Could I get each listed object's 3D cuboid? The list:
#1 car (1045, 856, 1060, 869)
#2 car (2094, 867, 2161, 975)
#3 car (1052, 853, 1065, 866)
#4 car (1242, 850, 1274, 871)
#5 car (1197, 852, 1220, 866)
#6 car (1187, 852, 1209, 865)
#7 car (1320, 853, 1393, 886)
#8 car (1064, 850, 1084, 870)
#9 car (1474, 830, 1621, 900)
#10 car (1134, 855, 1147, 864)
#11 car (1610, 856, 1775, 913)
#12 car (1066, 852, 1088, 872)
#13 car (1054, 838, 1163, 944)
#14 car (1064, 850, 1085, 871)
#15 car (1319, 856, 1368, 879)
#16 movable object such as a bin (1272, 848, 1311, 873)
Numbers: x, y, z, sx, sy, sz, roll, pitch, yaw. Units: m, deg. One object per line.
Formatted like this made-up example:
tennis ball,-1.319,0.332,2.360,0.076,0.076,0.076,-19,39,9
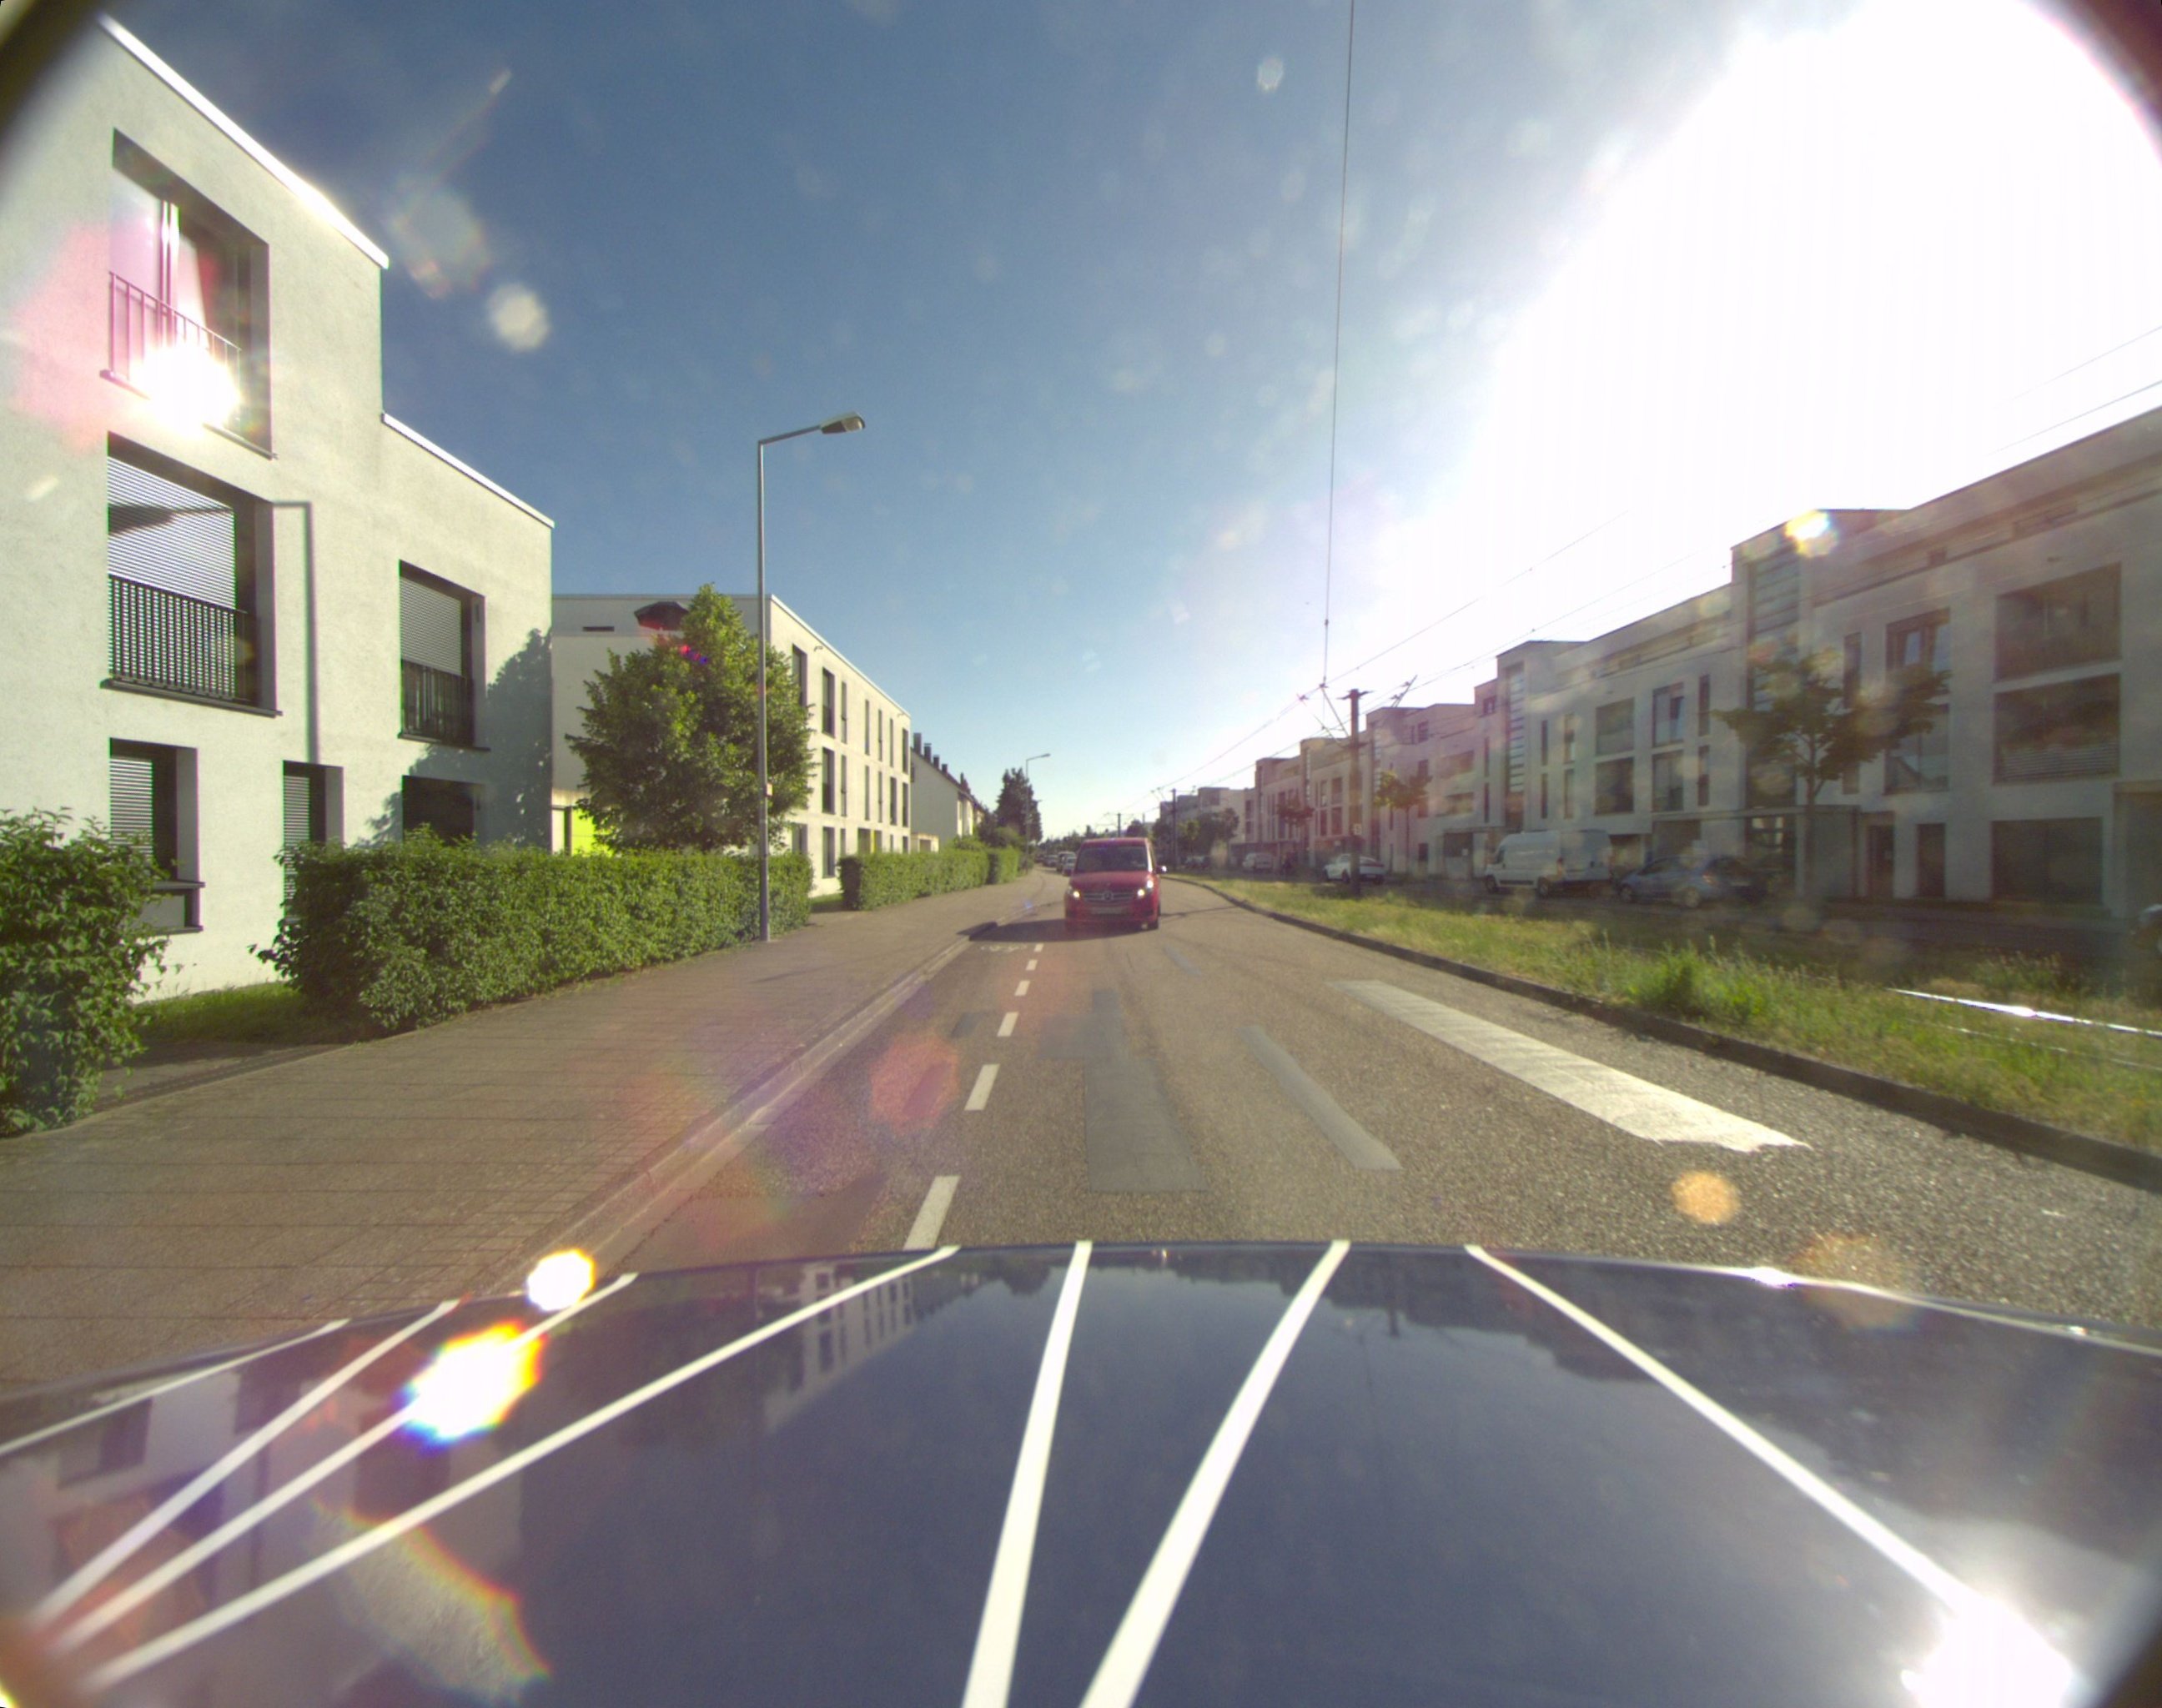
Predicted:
car,-3.475,1.033,94.643,1.700,1.466,4.013,2,0,-1
car,15.147,0.915,8.682,1.792,1.410,4.000,2,0,1
car,-2.975,0.765,100.962,1.700,1.604,4.013,2,0,-1
car,16.412,0.574,70.553,1.766,1.859,4.155,-1,0,-4
car,15.116,0.550,90.243,1.766,1.590,4.155,-1,0,-4
car,14.713,0.592,95.877,1.766,1.590,4.155,-1,0,-4
car,14.543,0.765,40.364,1.999,1.586,4.646,2,0,-2
car,-0.705,0.567,77.965,1.893,1.951,4.013,2,0,-1
car,17.960,0.391,29.702,2.146,2.430,5.589,-1,0,-2
car,10.619,0.931,135.688,1.766,1.590,4.155,-1,0,-4
car,18.084,0.837,22.720,1.829,1.528,3.842,-1,0,0
car,-0.312,0.639,61.355,1.700,1.466,4.013,2,0,-1
car,0.702,0.694,16.851,1.979,1.922,5.206,-2,0,4
car,-0.594,0.541,66.766,1.700,1.692,4.013,2,0,-1
car,17.271,0.863,50.237,1.521,1.423,4.155,-1,0,-4
movable object such as a bin,17.245,0.504,62.370,1.766,1.926,4.155,-1,0,-4
